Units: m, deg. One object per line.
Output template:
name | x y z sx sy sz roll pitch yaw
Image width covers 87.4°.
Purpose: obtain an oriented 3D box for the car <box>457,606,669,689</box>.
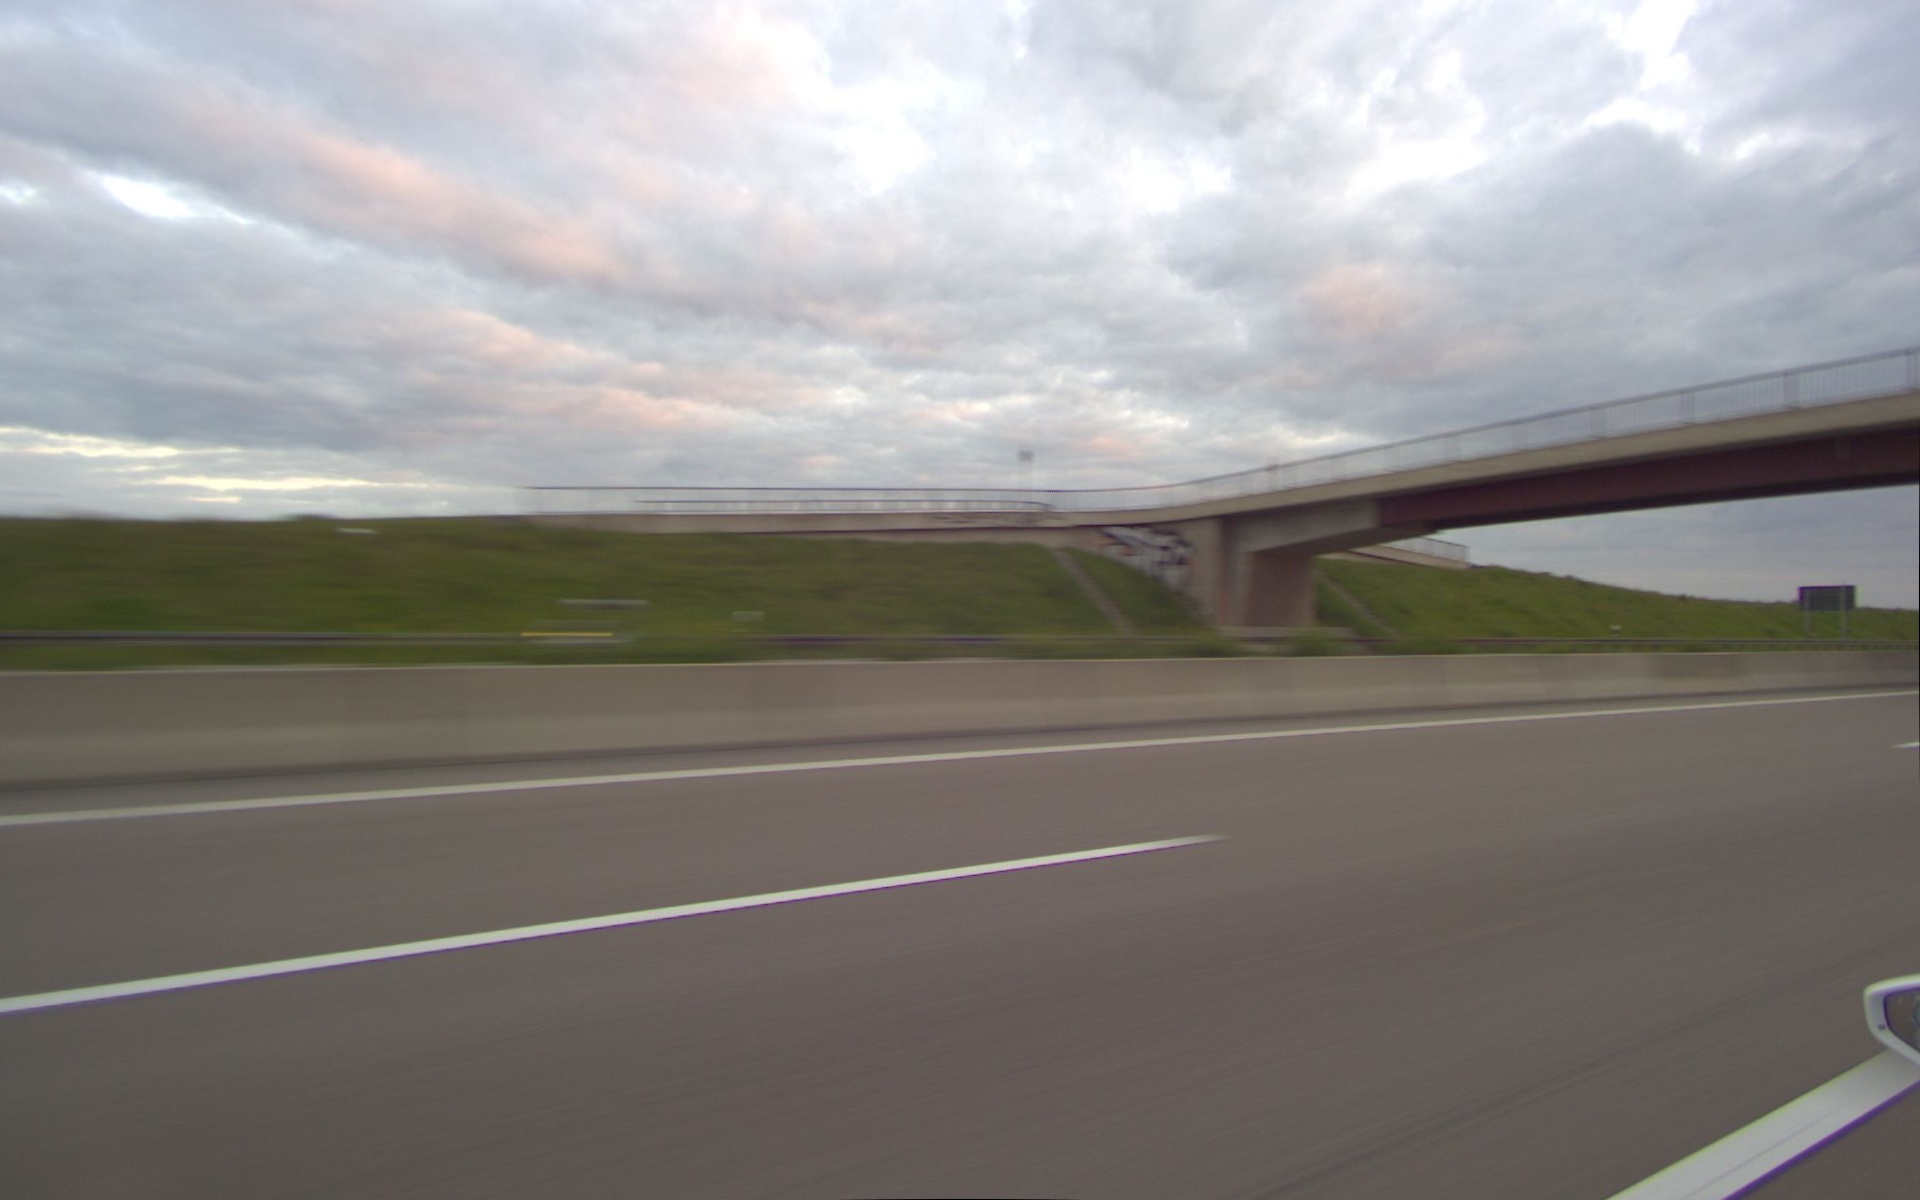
car | -8.308 0.963 21.110 3.953 1.578 1.594 2 0 -30
